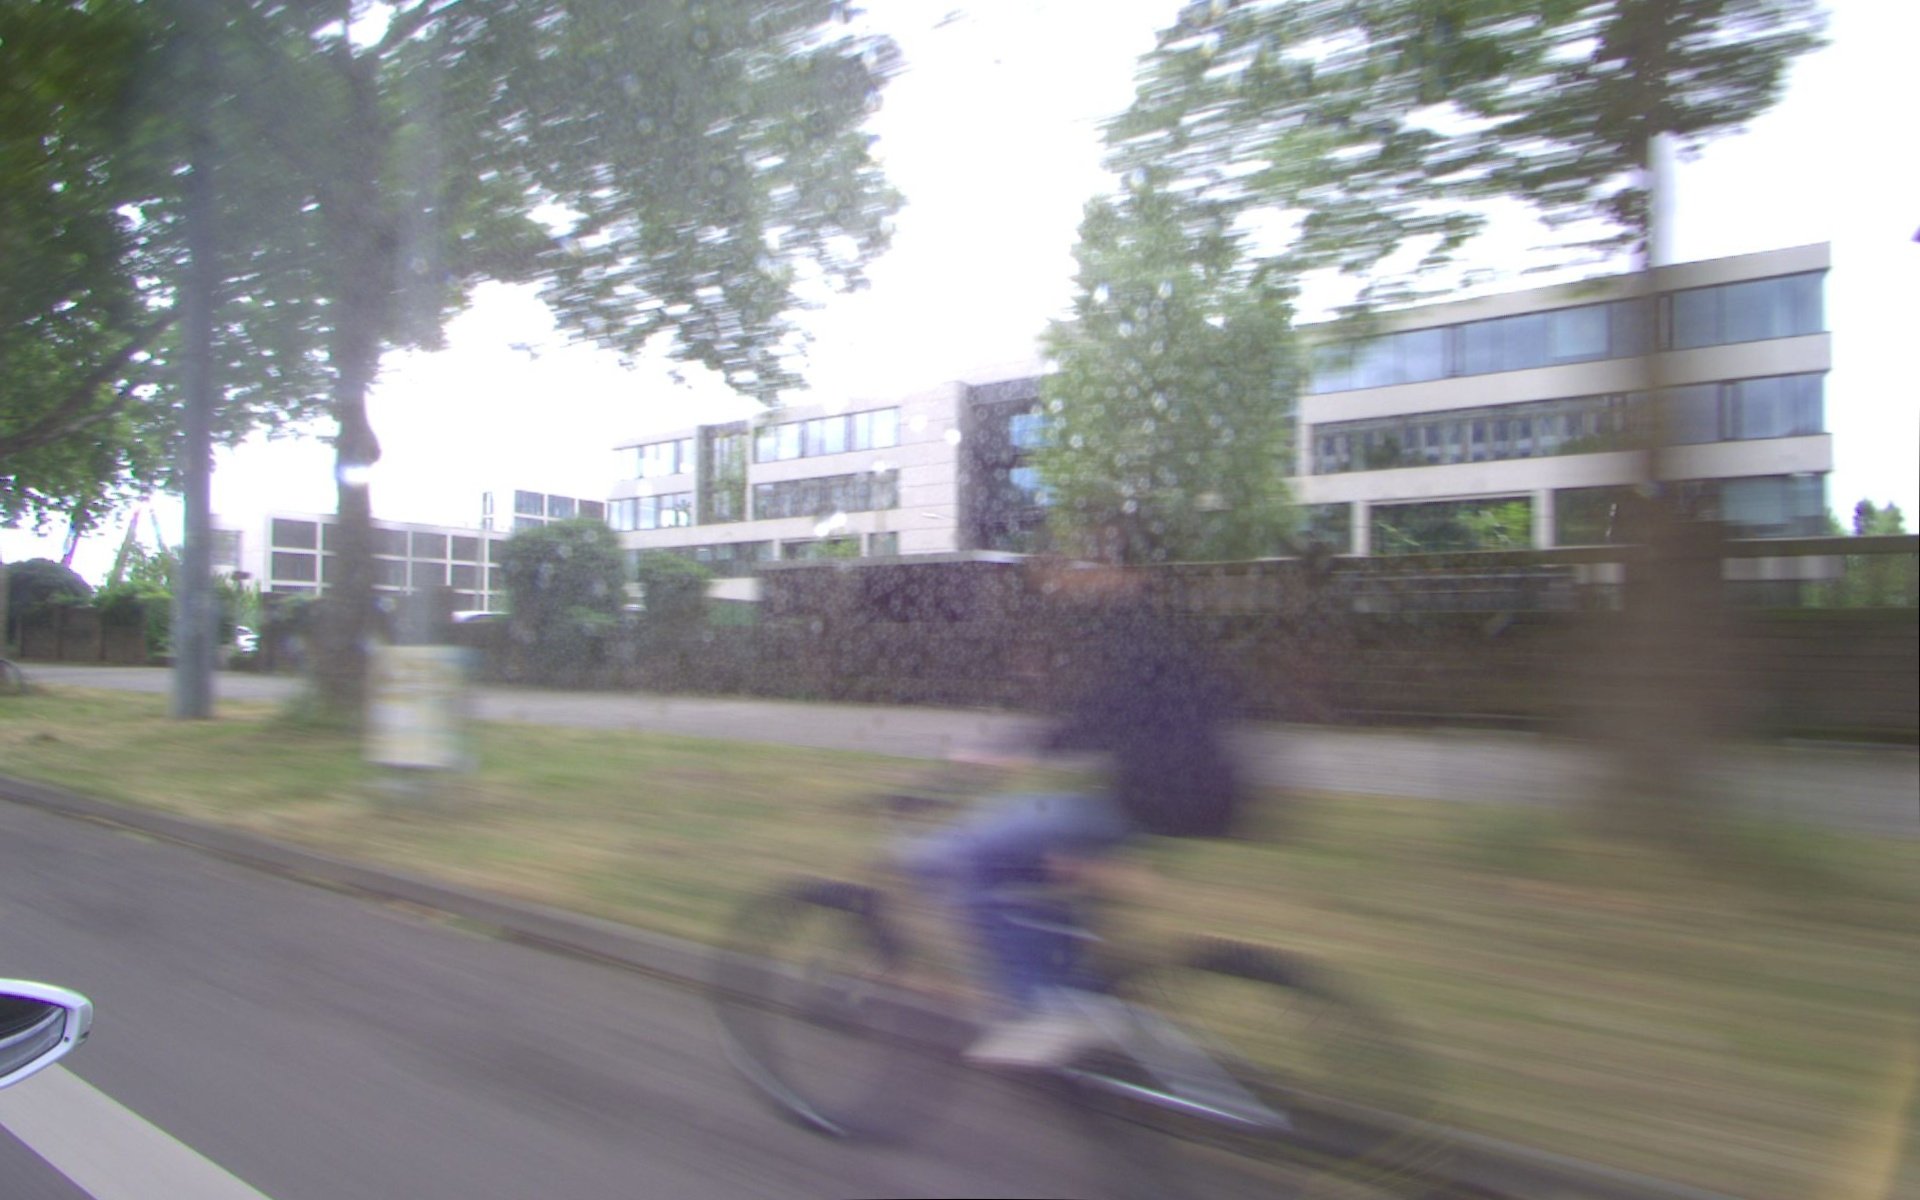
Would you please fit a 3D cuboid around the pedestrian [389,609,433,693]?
[{"bbox_3d":[-11.018,1.021,20.110,0.662,1.653,0.556,-1,-2,39],"label":"pedestrian"}]

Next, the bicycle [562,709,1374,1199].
[{"bbox_3d":[-0.100,0.943,2.799,2.250,1.164,0.652,-1,-2,31],"label":"bicycle"}]

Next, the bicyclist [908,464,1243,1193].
[{"bbox_3d":[0.314,0.500,2.584,0.655,1.550,0.640,-1,-2,31],"label":"bicyclist"}]

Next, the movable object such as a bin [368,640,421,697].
[{"bbox_3d":[-11.679,1.401,20.674,1.002,1.126,0.609,0,-1,39],"label":"movable object such as a bin"}]
